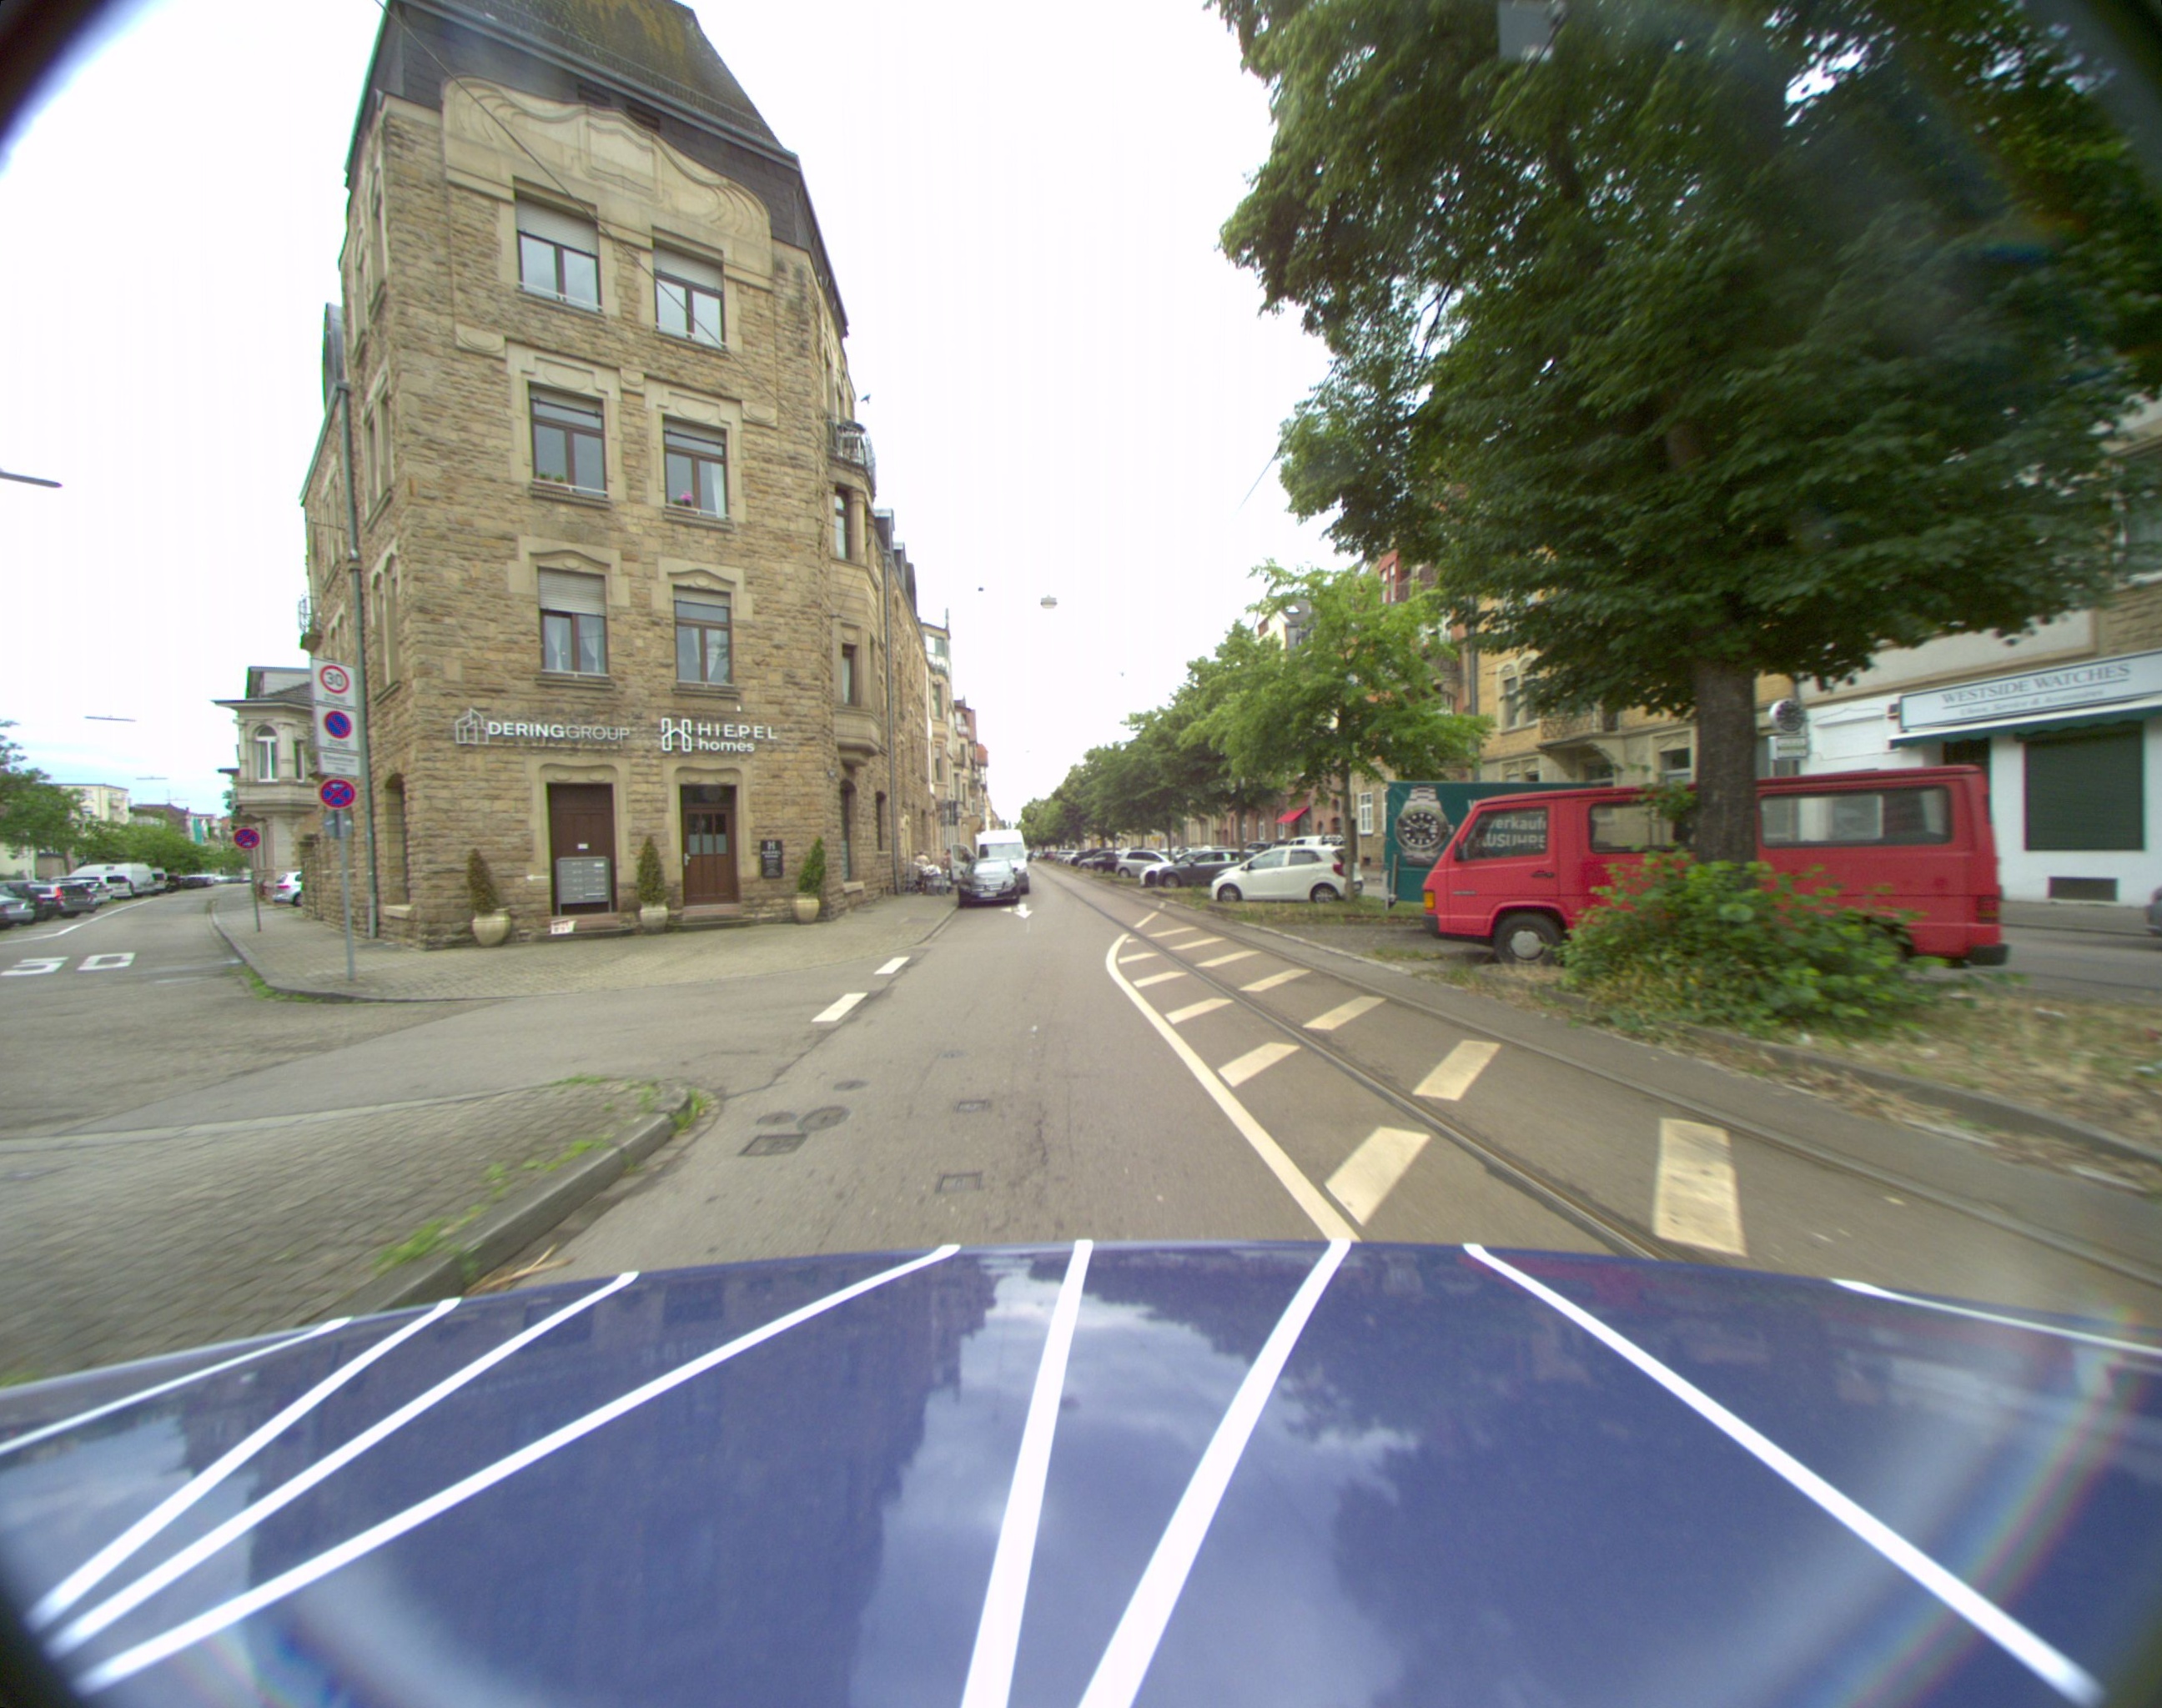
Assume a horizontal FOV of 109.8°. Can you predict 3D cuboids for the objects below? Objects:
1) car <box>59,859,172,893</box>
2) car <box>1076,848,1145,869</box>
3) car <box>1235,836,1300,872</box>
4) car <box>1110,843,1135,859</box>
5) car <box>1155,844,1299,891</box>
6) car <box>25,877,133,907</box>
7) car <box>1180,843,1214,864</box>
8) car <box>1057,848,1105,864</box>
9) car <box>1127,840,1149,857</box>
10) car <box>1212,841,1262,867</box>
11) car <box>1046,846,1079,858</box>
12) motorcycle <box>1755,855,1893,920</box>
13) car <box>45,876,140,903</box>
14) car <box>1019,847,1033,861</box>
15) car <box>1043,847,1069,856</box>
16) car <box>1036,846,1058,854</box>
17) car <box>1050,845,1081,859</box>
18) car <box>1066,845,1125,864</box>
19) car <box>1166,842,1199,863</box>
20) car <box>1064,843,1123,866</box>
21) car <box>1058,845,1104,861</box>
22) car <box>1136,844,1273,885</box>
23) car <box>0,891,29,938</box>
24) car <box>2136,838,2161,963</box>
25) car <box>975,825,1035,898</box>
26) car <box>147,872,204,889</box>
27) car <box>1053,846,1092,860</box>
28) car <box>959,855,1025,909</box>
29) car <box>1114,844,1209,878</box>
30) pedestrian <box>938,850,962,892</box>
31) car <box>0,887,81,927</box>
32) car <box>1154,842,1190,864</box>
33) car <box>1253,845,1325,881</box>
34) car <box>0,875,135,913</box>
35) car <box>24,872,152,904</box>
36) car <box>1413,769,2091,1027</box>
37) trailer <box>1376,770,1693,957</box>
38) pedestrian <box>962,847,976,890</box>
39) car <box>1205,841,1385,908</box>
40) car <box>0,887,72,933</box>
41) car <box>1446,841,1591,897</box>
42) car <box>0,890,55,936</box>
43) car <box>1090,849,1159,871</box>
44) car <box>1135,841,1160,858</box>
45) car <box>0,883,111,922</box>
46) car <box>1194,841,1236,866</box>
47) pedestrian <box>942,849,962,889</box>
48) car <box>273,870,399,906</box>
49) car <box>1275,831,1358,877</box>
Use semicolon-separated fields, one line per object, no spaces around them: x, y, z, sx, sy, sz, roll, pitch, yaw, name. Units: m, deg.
-78.479;1.761;61.866;5.326;2.488;2.345;-2;1;-12;car
2.051;0.334;53.694;4.655;1.360;1.761;-2;1;38;car
10.175;-0.048;41.906;1.819;1.771;5.114;-2;1;-6;car
4.089;-0.330;75.497;1.649;1.495;4.618;-2;1;-6;car
4.858;0.462;25.532;4.328;1.426;1.902;-1;1;37;car
-57.651;2.177;43.754;4.038;1.501;1.887;-2;1;7;car
8.984;-0.047;59.231;1.667;1.551;3.720;-2;1;-6;car
-0.049;0.166;70.858;4.118;1.304;1.867;-2;1;38;car
6.543;-0.616;87.738;1.856;1.860;4.429;-2;1;-5;car
9.811;-0.028;48.139;1.745;1.533;4.550;-2;1;-6;car
-2.610;-0.268;106.579;4.595;1.458;1.889;-2;1;41;car
13.520;0.562;13.931;0.710;1.033;2.231;-2;1;12;motorcycle
-63.560;2.286;48.890;4.038;1.501;1.887;-2;1;7;car
-8.086;0.005;111.547;1.999;2.002;3.997;-2;1;-5;car
-4.096;-0.421;124.175;3.989;1.407;1.902;-2;-1;33;car
-7.035;-0.799;155.574;3.990;1.602;1.901;-1;0;26;car
-1.984;-0.273;98.982;3.803;1.518;1.678;-3;1;40;car
1.178;0.045;63.309;4.529;1.482;2.040;-1;2;39;car
8.507;-0.183;64.042;1.774;1.619;4.317;-2;1;-6;car
0.974;0.049;60.110;4.520;1.624;1.768;-1;2;39;car
-0.014;-0.092;78.264;4.552;1.485;1.867;-2;2;41;car
4.630;0.408;28.759;4.675;1.426;1.902;-2;1;34;car
-35.584;1.939;23.002;4.047;1.425;1.752;-1;1;-20;car
13.563;0.534;6.821;1.639;1.434;4.567;-2;1;-7;car
-3.025;0.244;31.325;2.019;2.534;7.012;-4;1;-4;car
-94.786;2.775;79.575;4.038;1.501;1.887;-2;1;7;car
-1.004;-0.097;88.797;4.195;1.600;1.728;0;3;36;car
-2.812;0.835;24.931;1.829;1.442;5.004;-3;1;-4;car
3.815;0.341;36.284;4.106;1.475;1.800;-2;1;36;car
-5.368;0.673;31.108;0.866;1.690;0.537;0;1;-19;pedestrian
-42.766;2.085;29.845;4.045;1.425;1.753;-1;1;-12;car
6.494;-0.091;54.555;1.649;1.495;3.880;-2;1;-6;car
8.887;0.339;32.765;1.649;1.375;3.880;-2;1;-6;car
-47.054;1.842;34.983;4.044;1.501;1.885;-2;1;-12;car
-72.206;2.453;55.359;5.326;2.011;2.345;-2;1;-12;car
6.200;0.359;7.880;4.755;1.963;1.963;-1;1;33;car
6.422;0.142;11.144;3.662;2.331;1.934;-1;1;28;trailer
-4.761;0.610;32.370;0.500;1.804;0.802;0;1;-4;pedestrian
5.198;0.484;18.628;3.852;1.454;1.693;-1;1;37;car
-40.131;2.055;27.572;4.045;1.523;1.753;-1;1;-12;car
12.614;0.380;22.224;1.639;1.434;3.920;-2;1;-7;car
-37.787;2.018;25.358;4.045;1.425;1.753;-1;1;-12;car
2.658;0.376;46.726;3.952;1.195;1.671;-2;1;38;car
6.976;-0.529;80.118;1.810;1.670;4.270;-2;1;-6;car
-44.606;2.056;32.185;4.045;1.501;1.885;-1;1;-12;car
9.541;-0.063;54.428;1.745;1.617;4.550;-2;1;-6;car
-5.606;0.639;33.042;0.706;1.690;0.491;0;1;-33;pedestrian
-34.218;1.516;35.016;4.052;1.425;1.750;-1;1;-45;car
11.031;-0.054;36.074;1.887;1.941;5.090;-2;1;-6;car
